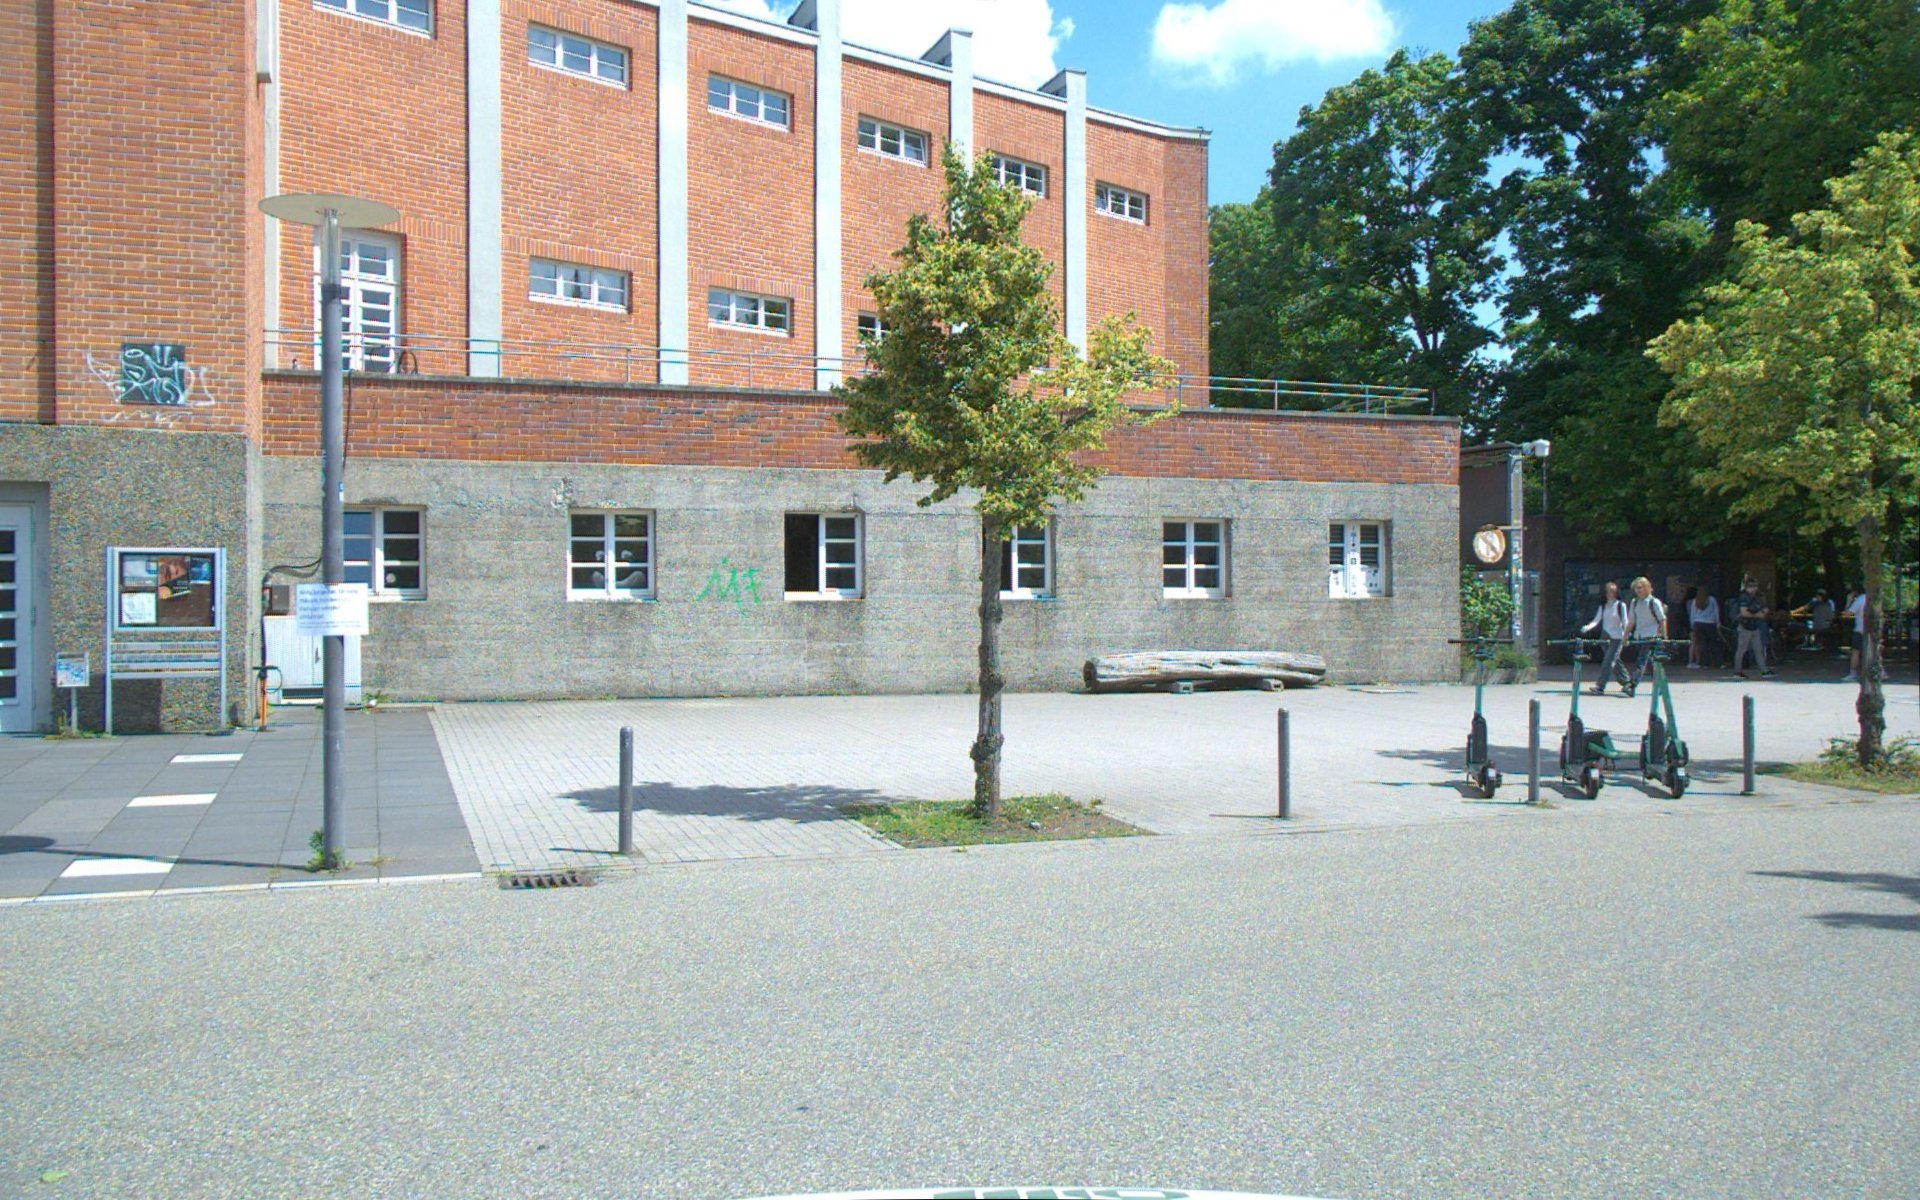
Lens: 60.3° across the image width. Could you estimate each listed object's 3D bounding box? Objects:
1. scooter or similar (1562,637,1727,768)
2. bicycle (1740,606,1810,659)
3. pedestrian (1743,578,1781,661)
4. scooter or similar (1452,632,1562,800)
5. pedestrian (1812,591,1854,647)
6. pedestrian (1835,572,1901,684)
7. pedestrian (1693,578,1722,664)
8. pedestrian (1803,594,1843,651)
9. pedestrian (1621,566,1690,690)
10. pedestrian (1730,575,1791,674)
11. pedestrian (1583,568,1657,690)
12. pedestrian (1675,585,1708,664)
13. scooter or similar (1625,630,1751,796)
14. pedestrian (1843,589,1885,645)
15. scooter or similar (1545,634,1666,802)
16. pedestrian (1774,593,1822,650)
[{"bbox_3d":[6.337,0.937,15.333,1.320,1.169,0.564,0,0,-8],"label":"scooter or similar"},{"bbox_3d":[17.413,0.698,35.343,1.319,1.095,0.416,1,-1,27],"label":"bicycle"},{"bbox_3d":[16.592,0.401,34.209,0.664,1.679,0.502,1,2,31],"label":"pedestrian"},{"bbox_3d":[4.430,0.905,13.480,0.556,1.246,1.576,0,0,7],"label":"scooter or similar"},{"bbox_3d":[20.226,0.436,38.329,0.680,1.293,0.559,0,1,-20],"label":"pedestrian"},{"bbox_3d":[15.385,0.471,28.027,0.859,1.852,0.449,1,-1,8],"label":"pedestrian"},{"bbox_3d":[15.333,0.426,33.915,0.518,1.740,0.448,1,2,26],"label":"pedestrian"},{"bbox_3d":[20.757,0.533,39.776,0.549,1.346,0.643,0,0,-19],"label":"pedestrian"},{"bbox_3d":[10.284,0.406,24.461,0.791,1.793,0.561,0,0,-21],"label":"pedestrian"},{"bbox_3d":[14.385,0.438,29.739,0.859,1.750,0.490,1,-1,8],"label":"pedestrian"},{"bbox_3d":[9.966,0.425,24.989,0.901,1.810,0.574,0,0,-21],"label":"pedestrian"},{"bbox_3d":[15.251,0.505,34.480,0.592,1.621,0.412,1,2,28],"label":"pedestrian"},{"bbox_3d":[5.933,0.884,13.548,0.511,1.246,1.576,0,0,7],"label":"scooter or similar"},{"bbox_3d":[21.123,0.394,38.657,0.680,1.293,0.559,0,1,-20],"label":"pedestrian"},{"bbox_3d":[5.232,0.917,13.486,0.551,1.246,1.576,0,0,7],"label":"scooter or similar"},{"bbox_3d":[19.894,0.501,39.266,0.764,1.346,0.686,0,0,-19],"label":"pedestrian"}]
